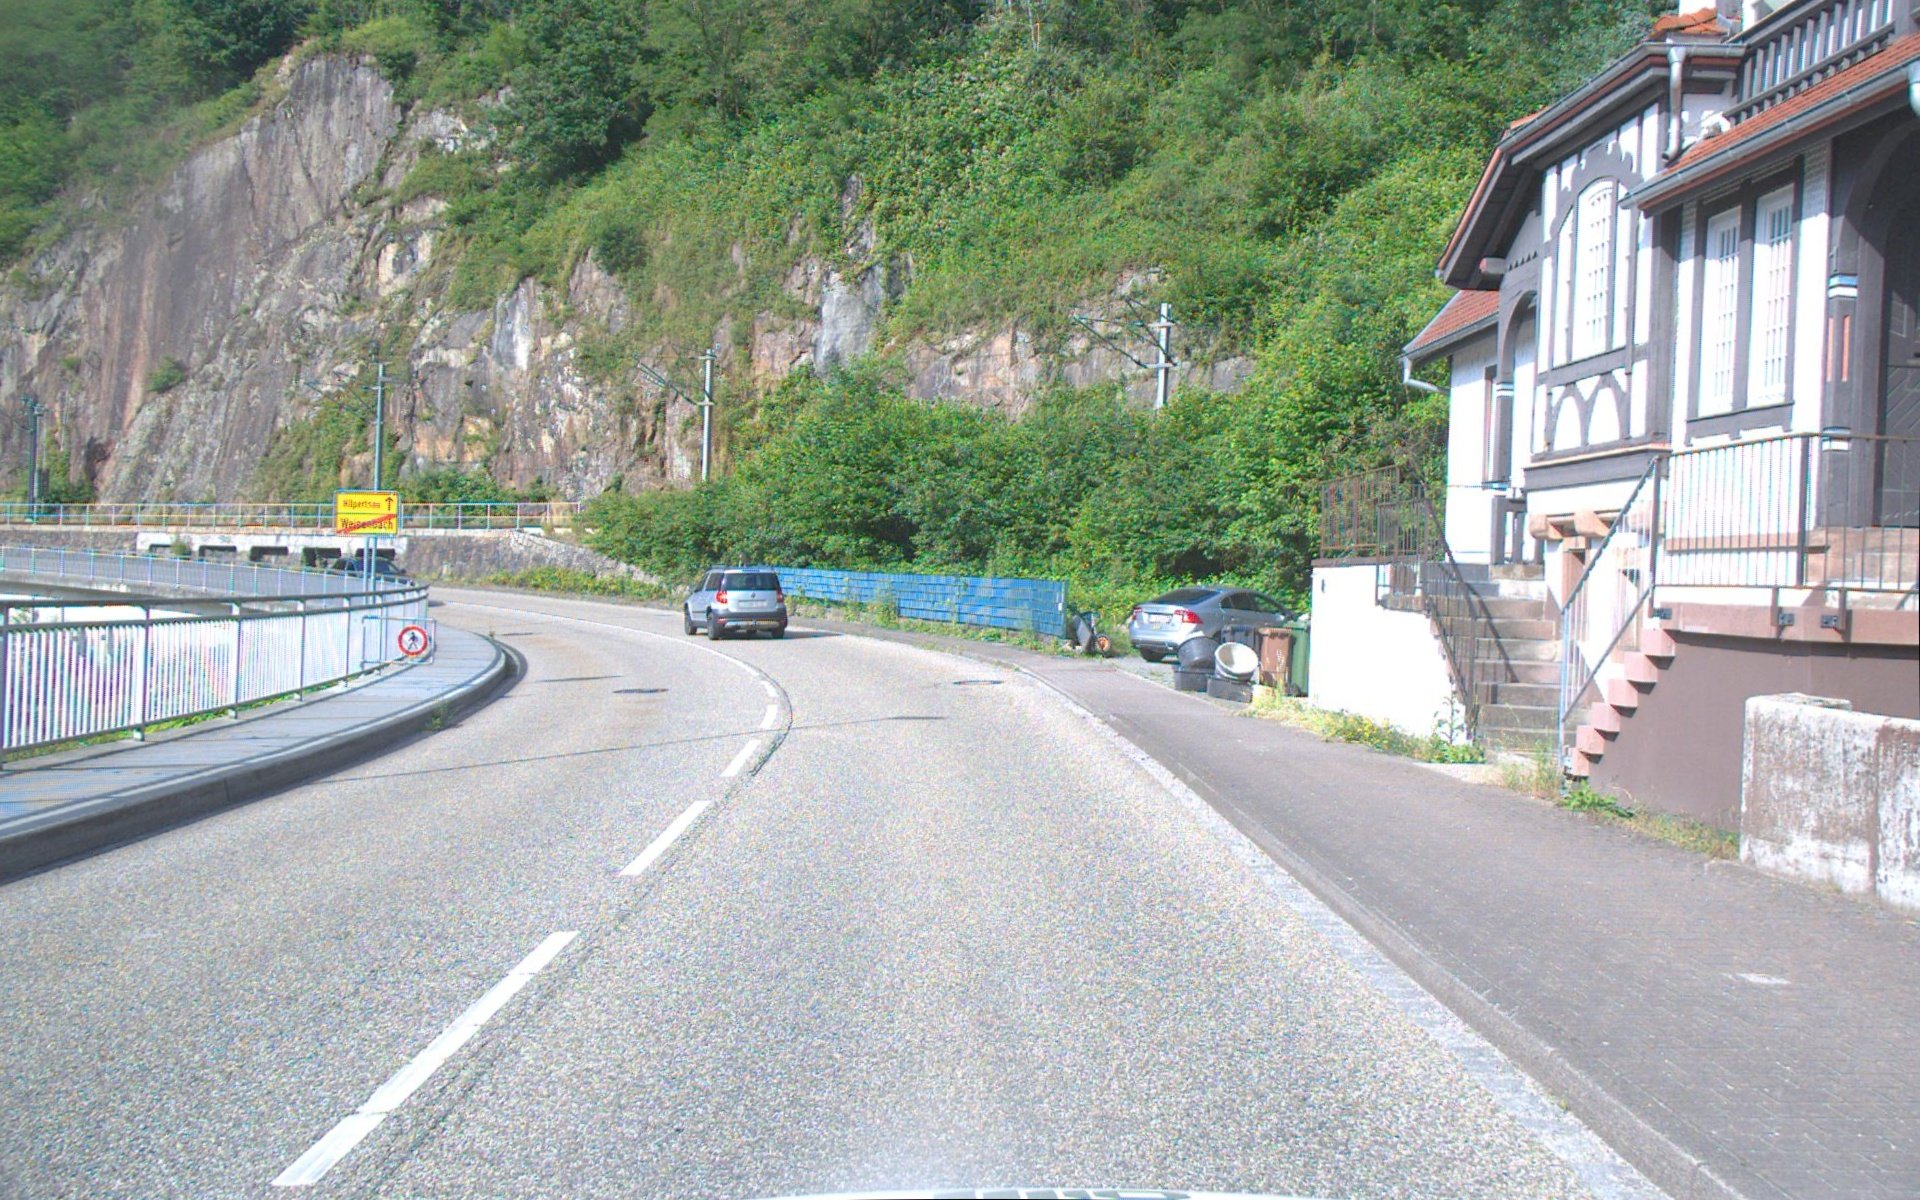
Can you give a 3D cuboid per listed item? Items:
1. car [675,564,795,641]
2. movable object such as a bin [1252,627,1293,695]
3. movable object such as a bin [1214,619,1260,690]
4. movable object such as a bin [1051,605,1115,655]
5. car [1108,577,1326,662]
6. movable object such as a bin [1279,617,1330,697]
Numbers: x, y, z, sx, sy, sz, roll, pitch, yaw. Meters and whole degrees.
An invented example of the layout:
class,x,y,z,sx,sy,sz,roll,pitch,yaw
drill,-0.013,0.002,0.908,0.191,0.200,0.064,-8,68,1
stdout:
class,x,y,z,sx,sy,sz,roll,pitch,yaw
car,-5.356,0.013,38.982,1.847,1.684,3.973,-1,1,-22
movable object such as a bin,4.411,0.861,23.394,0.361,0.915,0.546,2,0,-11
movable object such as a bin,3.923,0.771,23.484,0.462,0.953,0.652,2,0,-5
movable object such as a bin,2.384,0.572,32.453,0.838,0.862,2.536,3,0,-5
car,4.894,0.374,31.146,4.294,1.495,1.809,2,-1,-43
movable object such as a bin,4.861,0.793,23.379,0.468,1.081,0.752,2,0,-5
